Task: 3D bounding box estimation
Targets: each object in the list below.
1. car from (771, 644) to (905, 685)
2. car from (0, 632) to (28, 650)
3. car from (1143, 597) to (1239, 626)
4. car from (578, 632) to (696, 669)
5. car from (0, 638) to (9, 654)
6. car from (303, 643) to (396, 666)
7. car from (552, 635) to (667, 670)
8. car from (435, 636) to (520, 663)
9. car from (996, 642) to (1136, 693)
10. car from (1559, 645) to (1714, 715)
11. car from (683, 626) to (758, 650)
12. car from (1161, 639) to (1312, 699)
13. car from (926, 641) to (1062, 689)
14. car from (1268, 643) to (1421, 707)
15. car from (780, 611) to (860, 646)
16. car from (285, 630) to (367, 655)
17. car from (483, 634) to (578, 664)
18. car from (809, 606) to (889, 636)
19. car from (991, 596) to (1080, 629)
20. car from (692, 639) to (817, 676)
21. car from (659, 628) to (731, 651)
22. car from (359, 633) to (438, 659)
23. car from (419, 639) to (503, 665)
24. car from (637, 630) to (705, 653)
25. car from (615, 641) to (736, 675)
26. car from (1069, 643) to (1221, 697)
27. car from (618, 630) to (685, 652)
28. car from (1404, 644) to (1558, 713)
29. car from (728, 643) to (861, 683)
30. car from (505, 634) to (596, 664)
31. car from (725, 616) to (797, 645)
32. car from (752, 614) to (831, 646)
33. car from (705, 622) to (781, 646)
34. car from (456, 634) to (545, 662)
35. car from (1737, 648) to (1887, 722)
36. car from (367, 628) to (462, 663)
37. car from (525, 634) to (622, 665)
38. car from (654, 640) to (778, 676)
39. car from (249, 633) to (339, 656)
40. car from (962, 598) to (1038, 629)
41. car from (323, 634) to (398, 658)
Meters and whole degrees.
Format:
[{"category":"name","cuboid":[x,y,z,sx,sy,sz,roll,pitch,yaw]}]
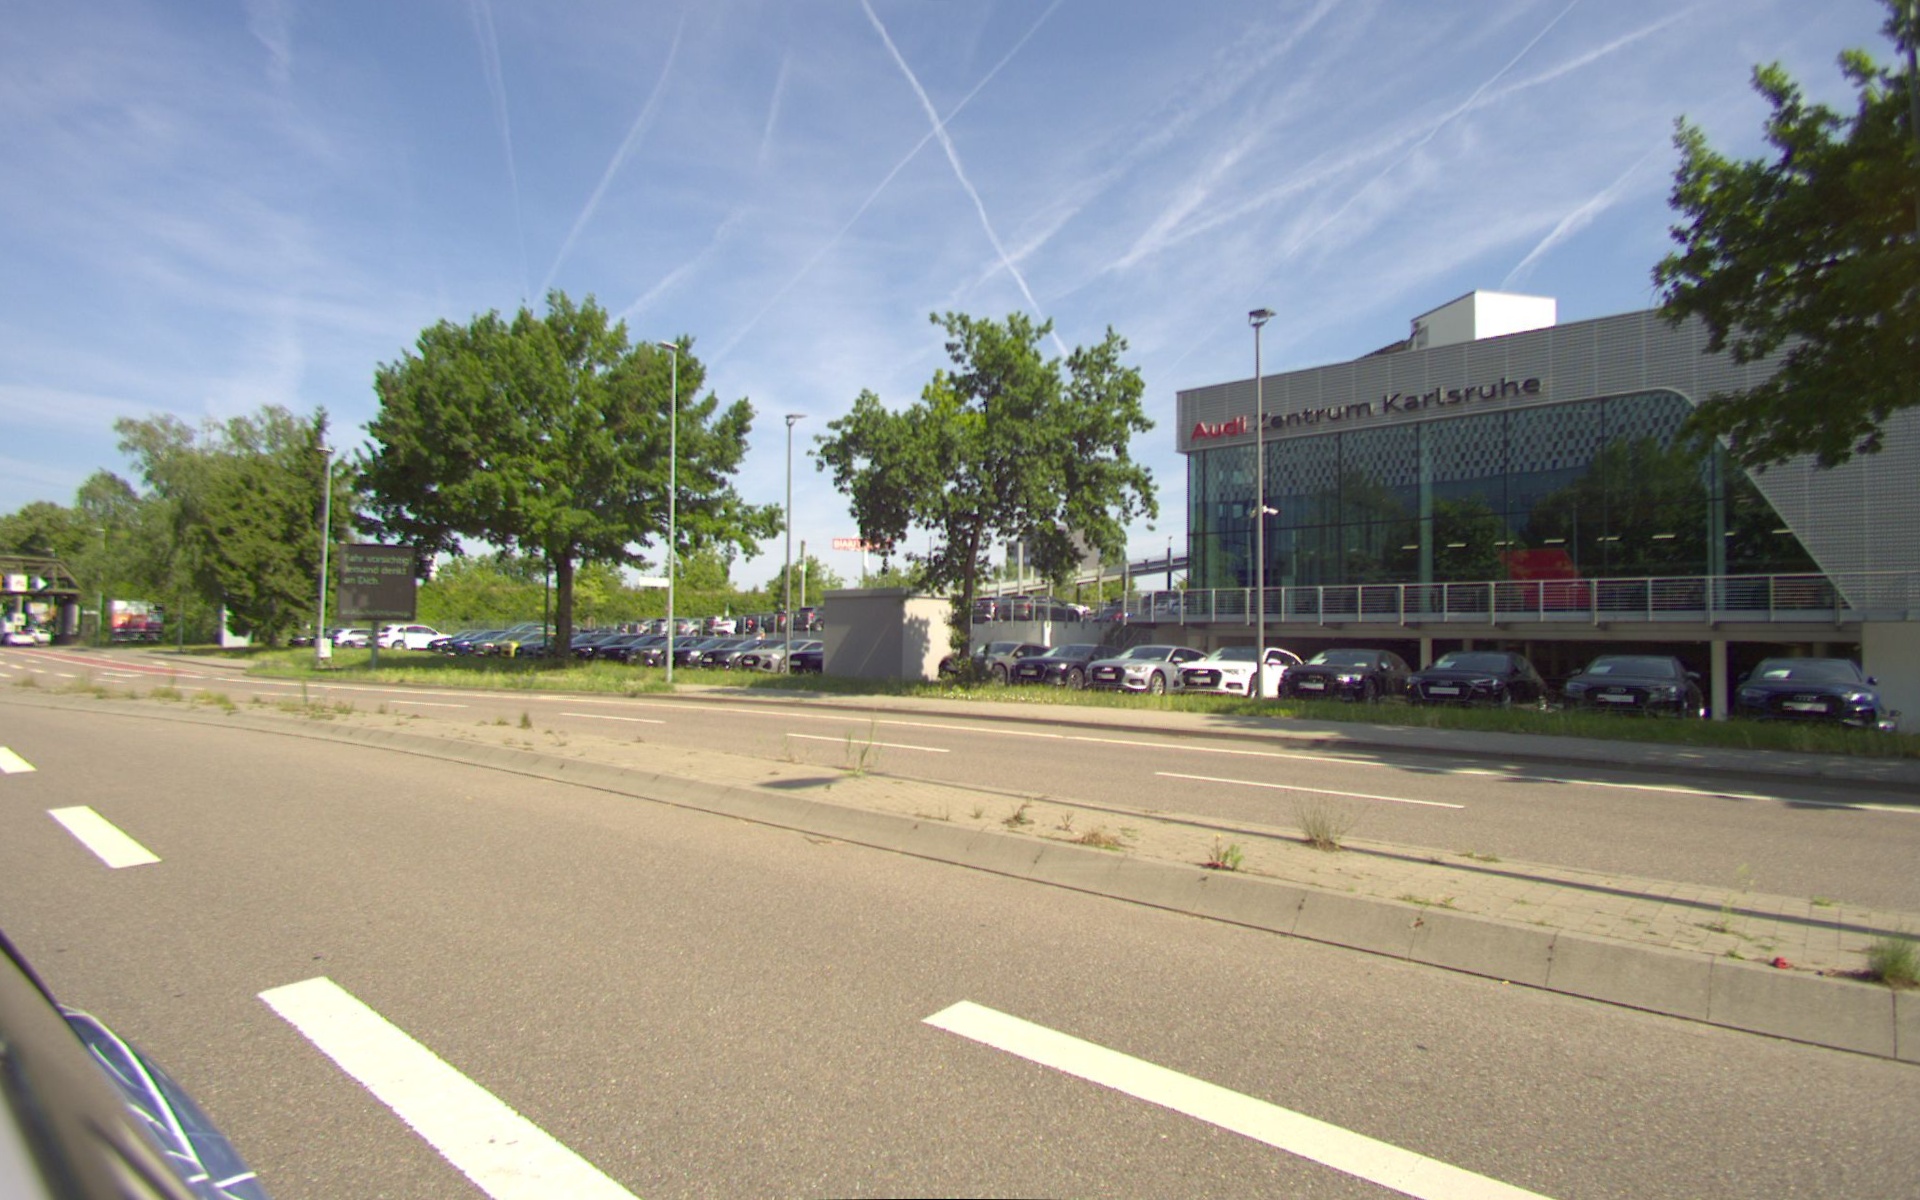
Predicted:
[{"category":"car","cuboid":[-4.069,2.156,34.474,1.918,1.300,4.454,-1,-3,39]},{"category":"car","cuboid":[-88.885,3.832,94.954,1.970,1.630,4.107,5,-5,-44]},{"category":"car","cuboid":[12.446,0.639,54.633,4.590,1.475,1.928,0,-1,-9]},{"category":"car","cuboid":[-13.727,2.130,43.210,1.918,1.487,4.454,-2,-3,39]},{"category":"car","cuboid":[-98.180,4.641,102.874,4.025,1.530,1.680,-2,-5,41]},{"category":"car","cuboid":[-39.294,3.487,65.231,1.999,1.278,4.800,-2,-2,41]},{"category":"car","cuboid":[-15.515,2.319,44.951,1.978,1.487,4.454,-2,-3,39]},{"category":"car","cuboid":[-25.255,2.586,53.042,1.743,1.295,3.557,-2,-5,39]},{"category":"car","cuboid":[2.943,1.855,27.475,1.895,1.165,3.947,-2,-6,39]},{"category":"car","cuboid":[12.479,1.495,18.557,1.953,1.086,4.132,-2,-6,39]},{"category":"car","cuboid":[-15.594,2.480,65.967,1.978,1.496,4.454,-2,-3,39]},{"category":"car","cuboid":[6.678,1.672,24.150,1.953,1.199,4.132,-2,-6,39]},{"category":"car","cuboid":[1.041,1.893,29.248,1.895,1.165,3.947,-2,-6,39]},{"category":"car","cuboid":[8.577,1.685,22.353,1.953,1.199,4.132,-2,-6,39]},{"category":"car","cuboid":[-8.126,1.686,59.076,1.978,1.977,4.454,-2,-3,39]},{"category":"car","cuboid":[-41.385,2.764,66.116,1.999,1.558,4.169,-2,-2,41]},{"category":"car","cuboid":[-21.219,2.455,50.087,1.838,1.351,3.848,-2,-5,39]},{"category":"car","cuboid":[-6.274,1.231,57.599,1.978,1.563,4.454,-2,-3,39]},{"category":"car","cuboid":[3.669,0.608,48.385,1.985,1.507,4.472,-2,-2,41]},{"category":"car","cuboid":[-7.551,2.107,37.558,1.690,1.300,4.454,-1,-3,39]},{"category":"car","cuboid":[-17.664,2.632,67.596,1.889,1.429,4.454,-2,-2,39]},{"category":"car","cuboid":[-34.927,2.838,63.034,1.848,1.497,3.941,-2,-2,45]},{"category":"car","cuboid":[-27.122,2.799,55.048,1.743,1.295,3.753,-2,-2,39]},{"category":"car","cuboid":[-19.786,2.810,69.441,1.997,1.488,4.161,-2,-2,38]},{"category":"car","cuboid":[-11.505,2.334,41.216,1.918,1.300,4.454,-1,-3,39]},{"category":"car","cuboid":[4.821,1.810,25.972,2.085,1.165,4.132,-2,-6,39]},{"category":"car","cuboid":[-21.674,2.861,71.235,1.997,1.488,4.161,-2,-2,38]},{"category":"car","cuboid":[10.614,1.622,20.500,1.953,1.199,4.132,-2,-6,39]},{"category":"car","cuboid":[-5.808,2.200,35.995,2.002,1.300,4.454,-1,-3,39]},{"category":"car","cuboid":[-19.501,2.363,48.266,1.863,1.295,3.557,-2,-5,39]},{"category":"car","cuboid":[-12.289,1.919,62.703,1.663,1.718,4.225,-2,-3,39]},{"category":"car","cuboid":[-10.066,1.818,60.805,1.978,1.829,4.454,-2,-3,39]},{"category":"car","cuboid":[-13.775,2.179,64.509,1.978,1.496,4.454,-2,-3,39]},{"category":"car","cuboid":[-23.274,2.473,51.359,1.662,1.295,3.704,-2,-5,39]},{"category":"car","cuboid":[14.015,1.440,16.738,1.695,1.042,4.066,-2,-6,39]},{"category":"car","cuboid":[-31.455,2.572,58.417,2.000,1.889,4.415,-2,-2,42]},{"category":"car","cuboid":[-17.704,2.295,46.425,1.984,1.295,3.642,-2,-5,40]},{"category":"car","cuboid":[-9.442,2.250,39.487,1.918,1.300,4.454,-1,-3,39]},{"category":"car","cuboid":[-44.413,2.939,67.570,1.999,1.400,4.637,-2,-2,41]},{"category":"car","cuboid":[2.031,0.679,50.517,1.667,1.507,3.945,-2,-2,41]},{"category":"car","cuboid":[-37.509,2.845,63.372,1.816,1.381,3.641,-2,-2,41]}]
